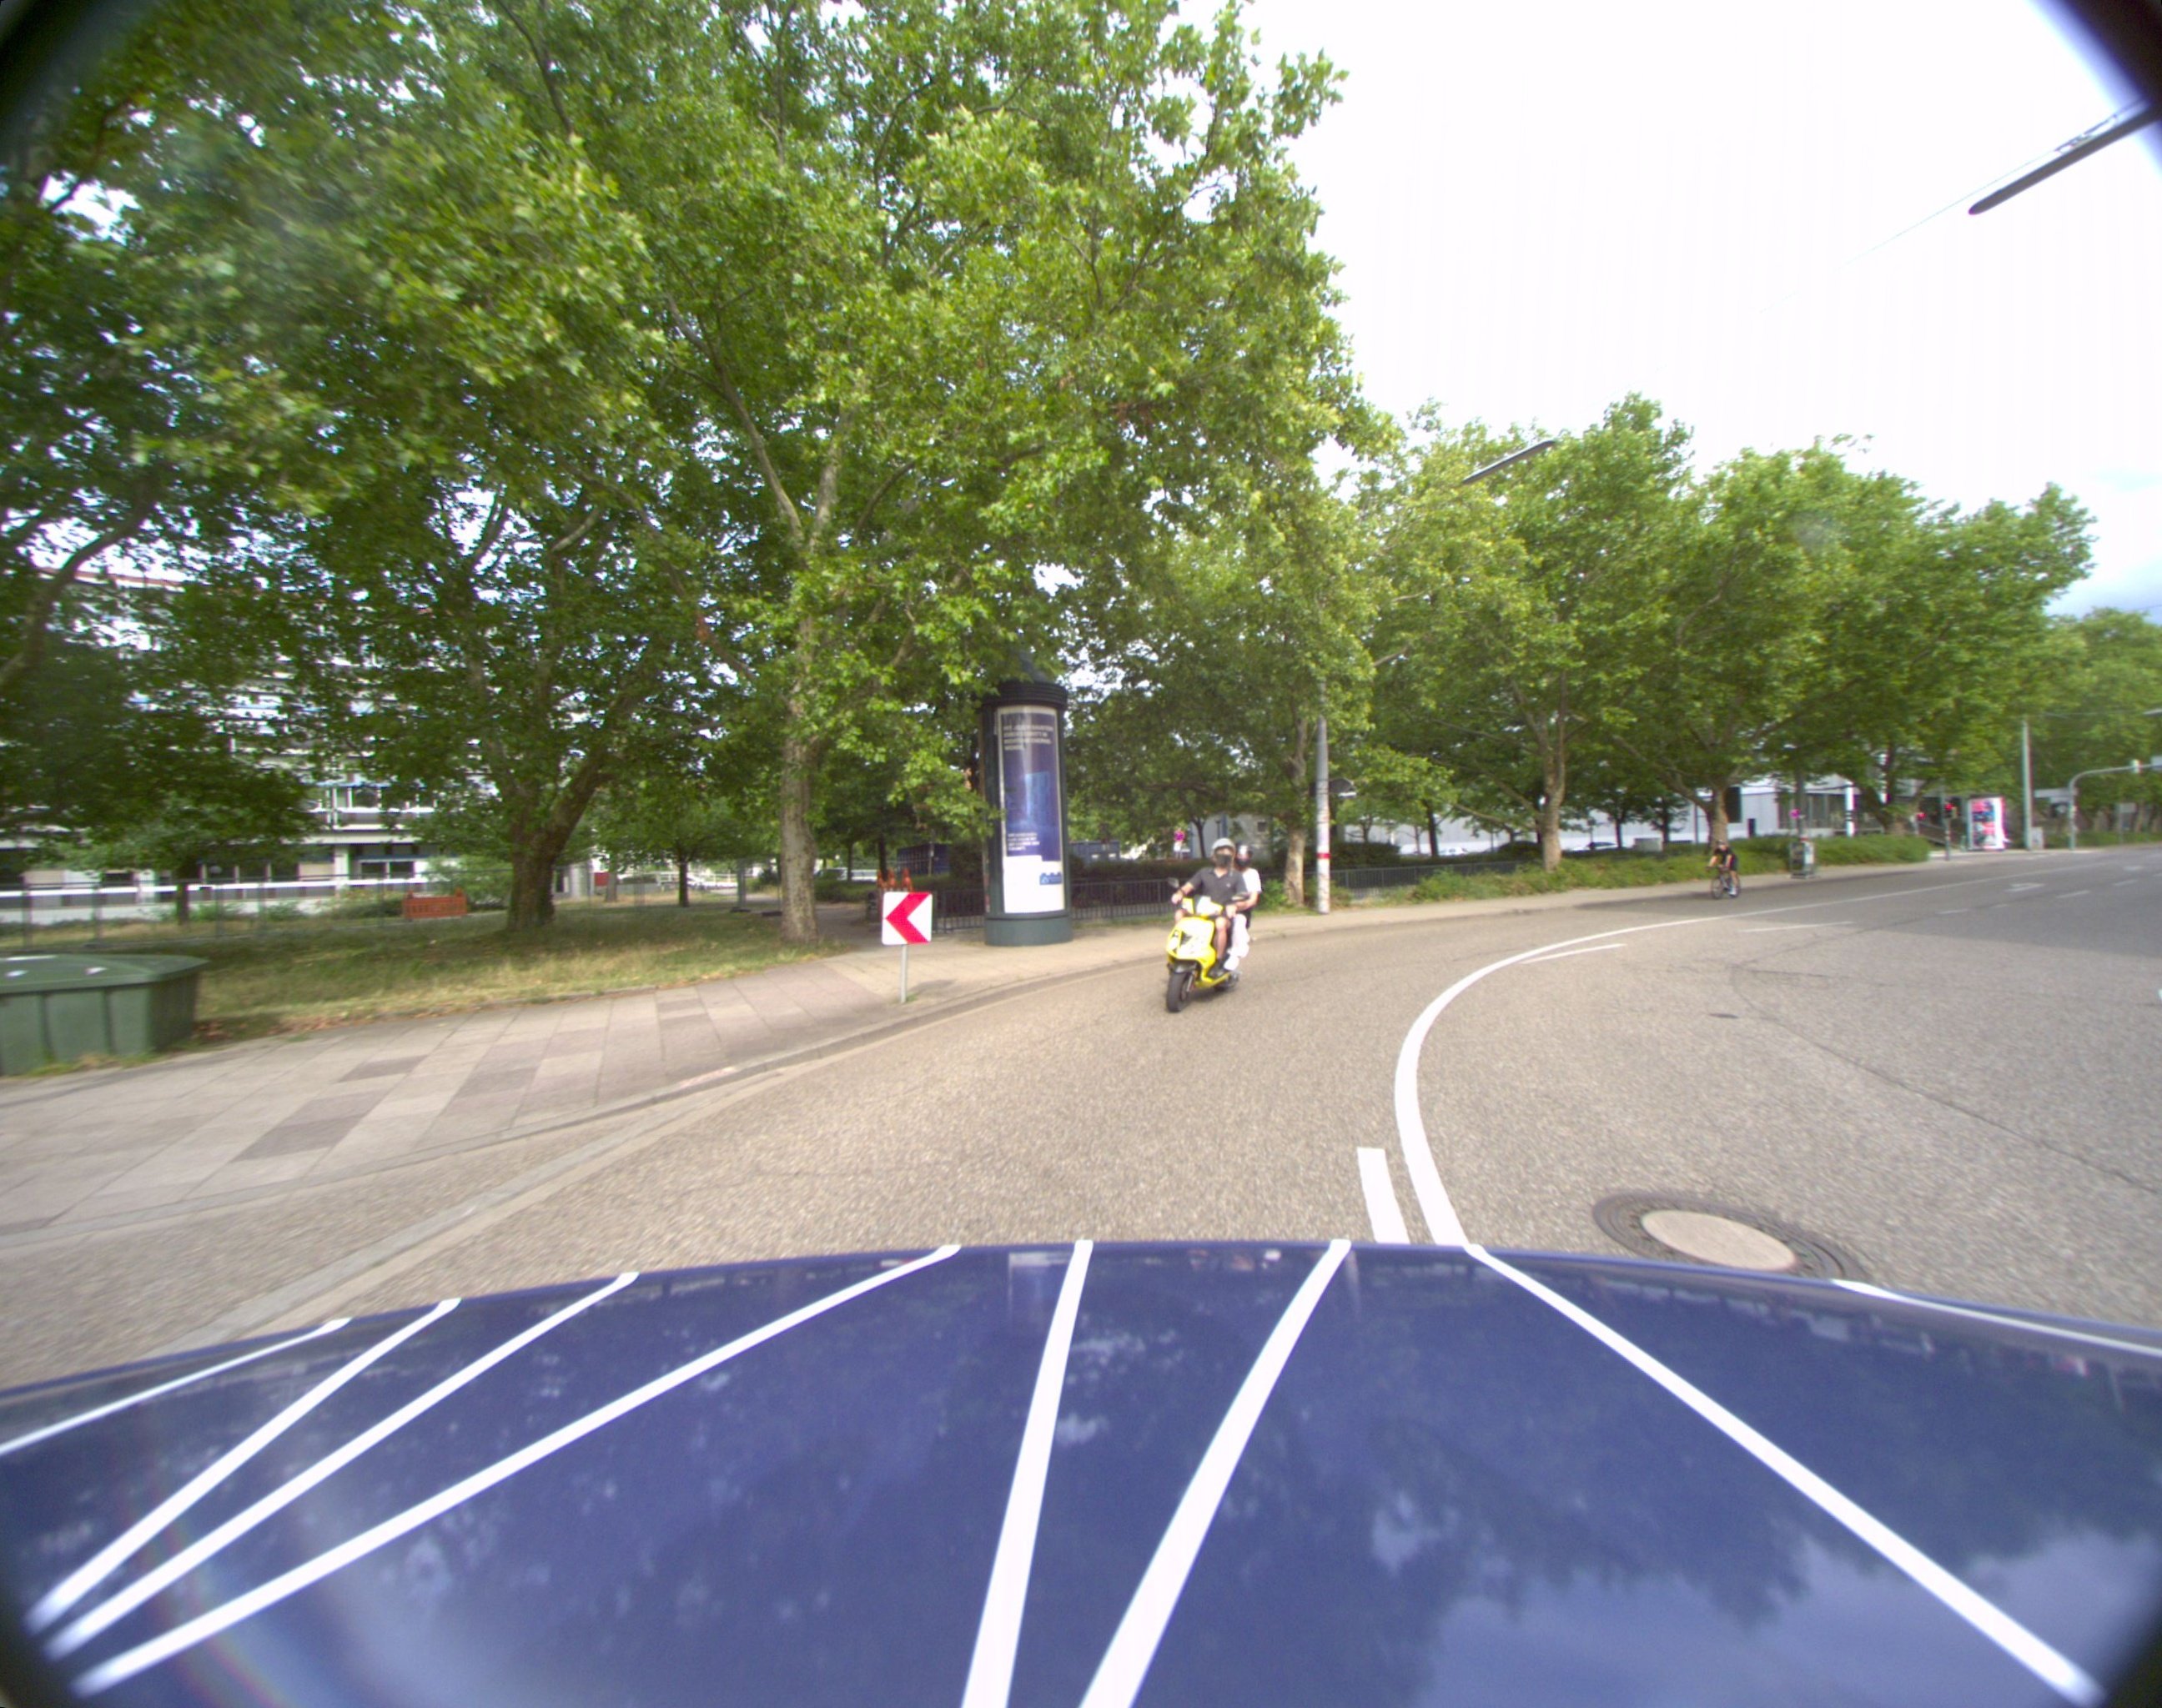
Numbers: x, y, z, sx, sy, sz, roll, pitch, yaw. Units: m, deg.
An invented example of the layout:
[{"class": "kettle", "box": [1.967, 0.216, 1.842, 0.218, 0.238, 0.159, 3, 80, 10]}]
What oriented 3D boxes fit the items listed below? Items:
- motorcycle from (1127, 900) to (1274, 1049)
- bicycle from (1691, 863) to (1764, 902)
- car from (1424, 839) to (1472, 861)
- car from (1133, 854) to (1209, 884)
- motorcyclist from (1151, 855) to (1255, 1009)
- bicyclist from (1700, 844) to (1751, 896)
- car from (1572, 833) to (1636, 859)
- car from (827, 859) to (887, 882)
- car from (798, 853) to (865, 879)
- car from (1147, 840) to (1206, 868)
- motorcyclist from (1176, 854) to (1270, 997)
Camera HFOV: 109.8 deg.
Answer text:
[{"class": "motorcycle", "box": [1.266, 1.109, 7.650, 0.780, 1.171, 1.996, -1, 0, 30]}, {"class": "bicycle", "box": [18.450, 0.811, 21.675, 2.411, 1.009, 0.770, -1, -2, -30]}, {"class": "car", "box": [38.520, -0.421, 79.723, 2.004, 2.001, 3.991, -1, -2, -39]}, {"class": "car", "box": [5.975, 0.992, 50.434, 4.781, 1.783, 1.996, -1, -2, -33]}, {"class": "motorcyclist", "box": [1.220, 0.725, 7.531, 0.780, 1.419, 0.765, 0, 0, 30]}, {"class": "bicyclist", "box": [18.371, 0.469, 21.659, 0.915, 1.438, 0.783, -2, -2, -29]}, {"class": "car", "box": [44.876, -0.648, 65.218, 2.003, 2.001, 3.991, -1, -2, -34]}, {"class": "car", "box": [-16.559, 1.227, 56.284, 3.796, 1.571, 1.996, -1, -2, -33]}, {"class": "car", "box": [-20.470, 0.979, 62.418, 4.781, 2.001, 1.996, -1, -2, -33]}, {"class": "car", "box": [9.608, -0.034, 76.547, 5.505, 2.597, 2.438, -1, -2, -32]}, {"class": "motorcyclist", "box": [1.519, 0.718, 8.076, 0.780, 1.419, 0.690, 0, 0, 31]}]
